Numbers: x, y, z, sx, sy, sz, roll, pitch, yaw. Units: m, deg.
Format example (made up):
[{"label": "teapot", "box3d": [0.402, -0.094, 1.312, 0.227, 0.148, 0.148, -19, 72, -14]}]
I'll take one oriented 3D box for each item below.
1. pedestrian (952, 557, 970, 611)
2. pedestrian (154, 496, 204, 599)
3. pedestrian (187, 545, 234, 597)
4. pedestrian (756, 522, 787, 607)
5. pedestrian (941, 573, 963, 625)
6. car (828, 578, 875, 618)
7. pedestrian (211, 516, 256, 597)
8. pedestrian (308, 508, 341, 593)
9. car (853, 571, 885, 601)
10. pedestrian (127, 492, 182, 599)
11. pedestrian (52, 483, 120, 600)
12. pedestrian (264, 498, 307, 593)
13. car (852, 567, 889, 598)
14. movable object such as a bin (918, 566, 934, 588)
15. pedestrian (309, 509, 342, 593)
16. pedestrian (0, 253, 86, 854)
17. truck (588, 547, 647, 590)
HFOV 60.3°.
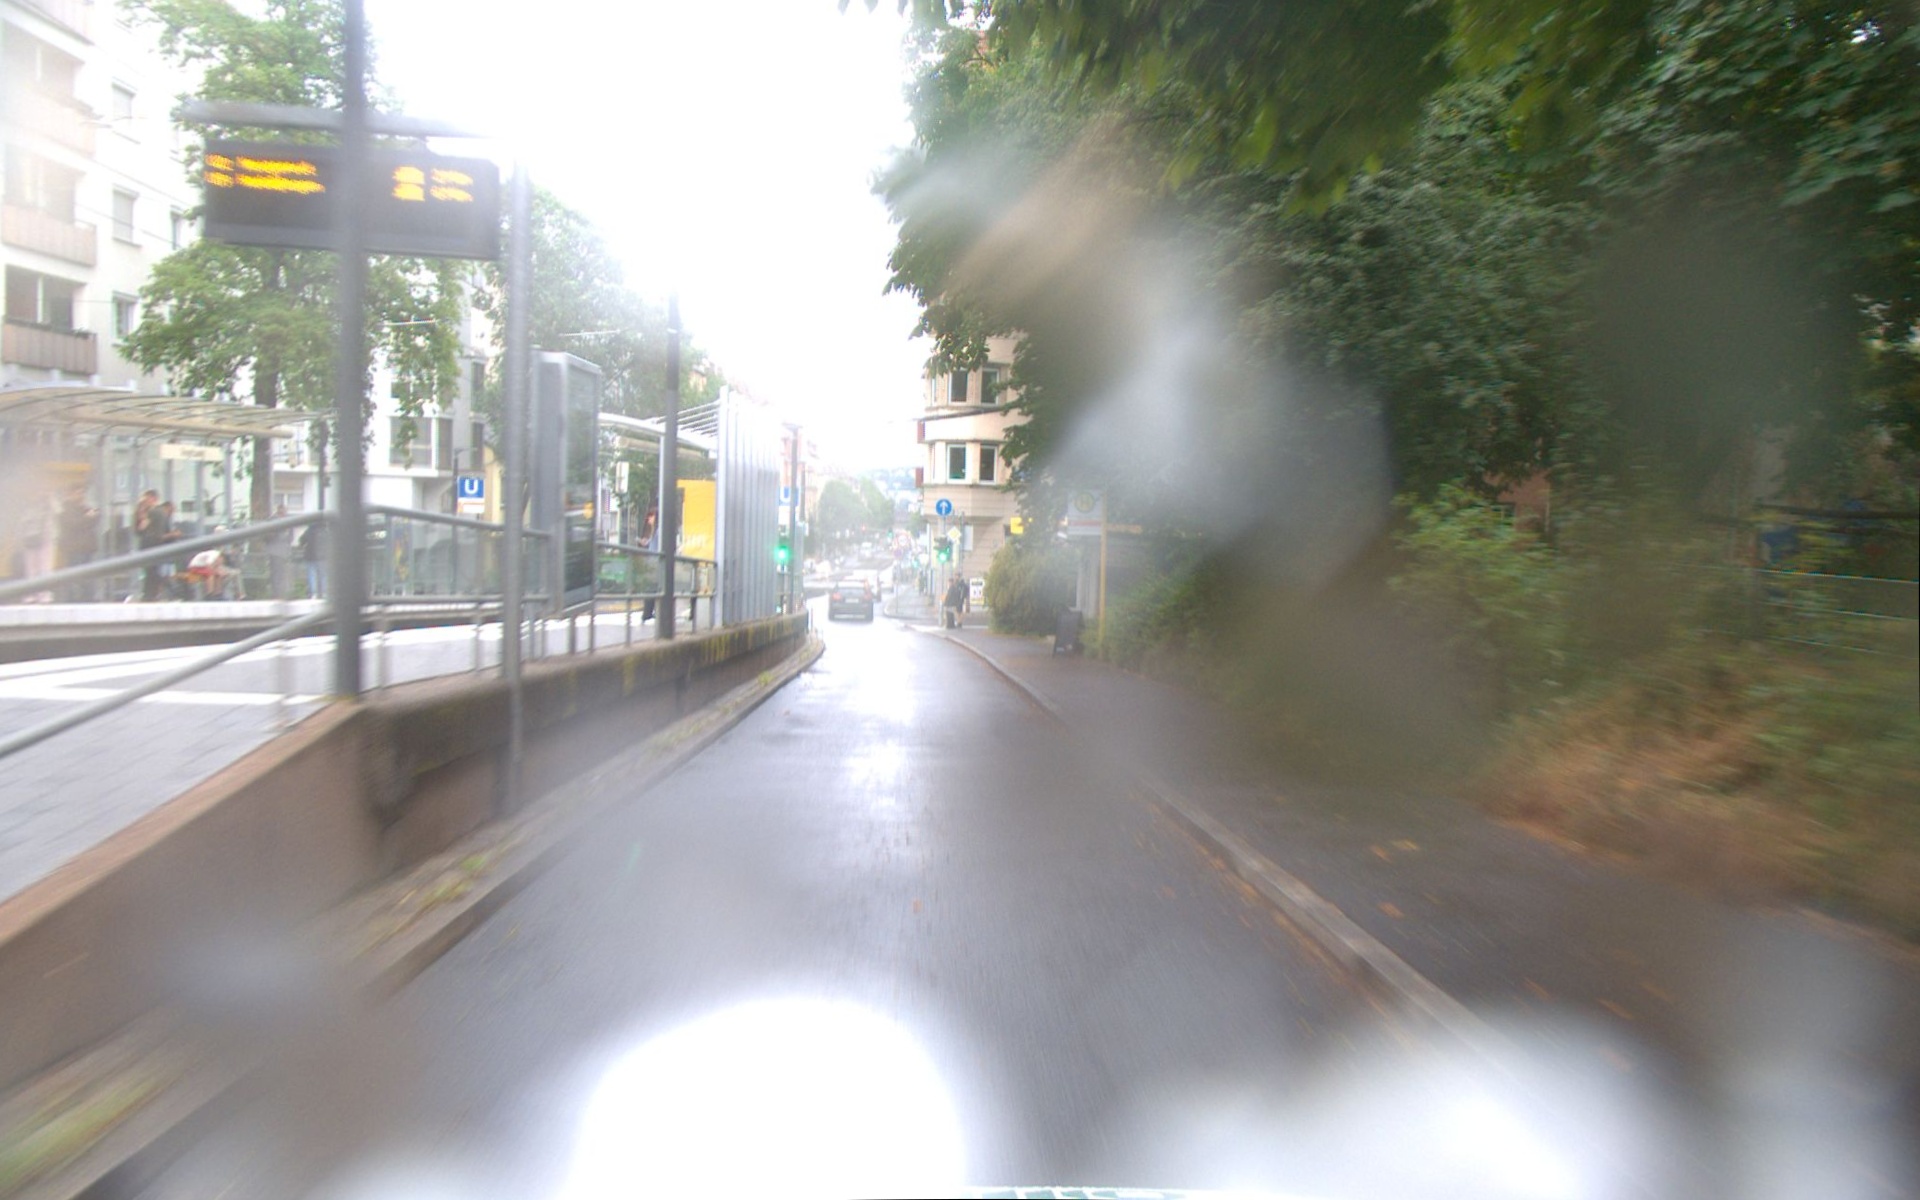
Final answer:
[{"label": "pedestrian", "box3d": [0.042, -0.564, 56.896, 0.543, 1.845, 0.650, 1, 0, -4]}, {"label": "pedestrian", "box3d": [-13.172, -0.879, 27.900, 0.539, 1.695, 0.614, -1, 0, -2]}, {"label": "pedestrian", "box3d": [-13.162, -0.505, 29.059, 0.539, 0.887, 0.614, -1, 0, -2]}, {"label": "pedestrian", "box3d": [-4.184, -0.783, 36.733, 0.578, 1.839, 0.660, 2, 0, -3]}, {"label": "pedestrian", "box3d": [-0.265, -0.038, 56.248, 0.681, 1.724, 0.555, 1, 0, -5]}, {"label": "car", "box3d": [-4.334, -0.108, 66.433, 1.815, 1.499, 3.998, 0, 1, -3]}, {"label": "pedestrian", "box3d": [-13.159, -0.787, 29.957, 0.539, 1.438, 0.614, -1, 0, -2]}, {"label": "pedestrian", "box3d": [-13.318, -1.035, 34.680, 0.472, 1.771, 0.563, -1, 0, -2]}, {"label": "car", "box3d": [-5.662, -0.872, 102.889, 1.910, 1.824, 4.141, 1, 0, -3]}, {"label": "pedestrian", "box3d": [-13.034, -0.873, 26.777, 0.582, 1.695, 0.591, -1, 0, -2]}, {"label": "pedestrian", "box3d": [-12.901, -0.858, 24.431, 0.582, 1.695, 0.762, -1, 0, -2]}, {"label": "pedestrian", "box3d": [-12.728, -1.020, 31.224, 0.539, 1.771, 0.614, -1, 0, -2]}, {"label": "car", "box3d": [-4.540, -0.869, 83.768, 1.815, 1.499, 3.997, 1, 1, -3]}, {"label": "movable object such as a bin", "box3d": [-2.634, -1.789, 128.067, 1.145, 1.684, 1.308, -1, 1, -6]}, {"label": "pedestrian", "box3d": [-13.515, -1.037, 35.263, 0.472, 1.771, 0.563, -1, 0, -2]}, {"label": "pedestrian", "box3d": [-3.229, -0.142, 5.006, 0.637, 1.813, 0.848, 1, 7, -1]}, {"label": "truck", "box3d": [-20.191, -1.830, 97.782, 2.009, 2.434, 6.322, 1, 1, 1]}]
